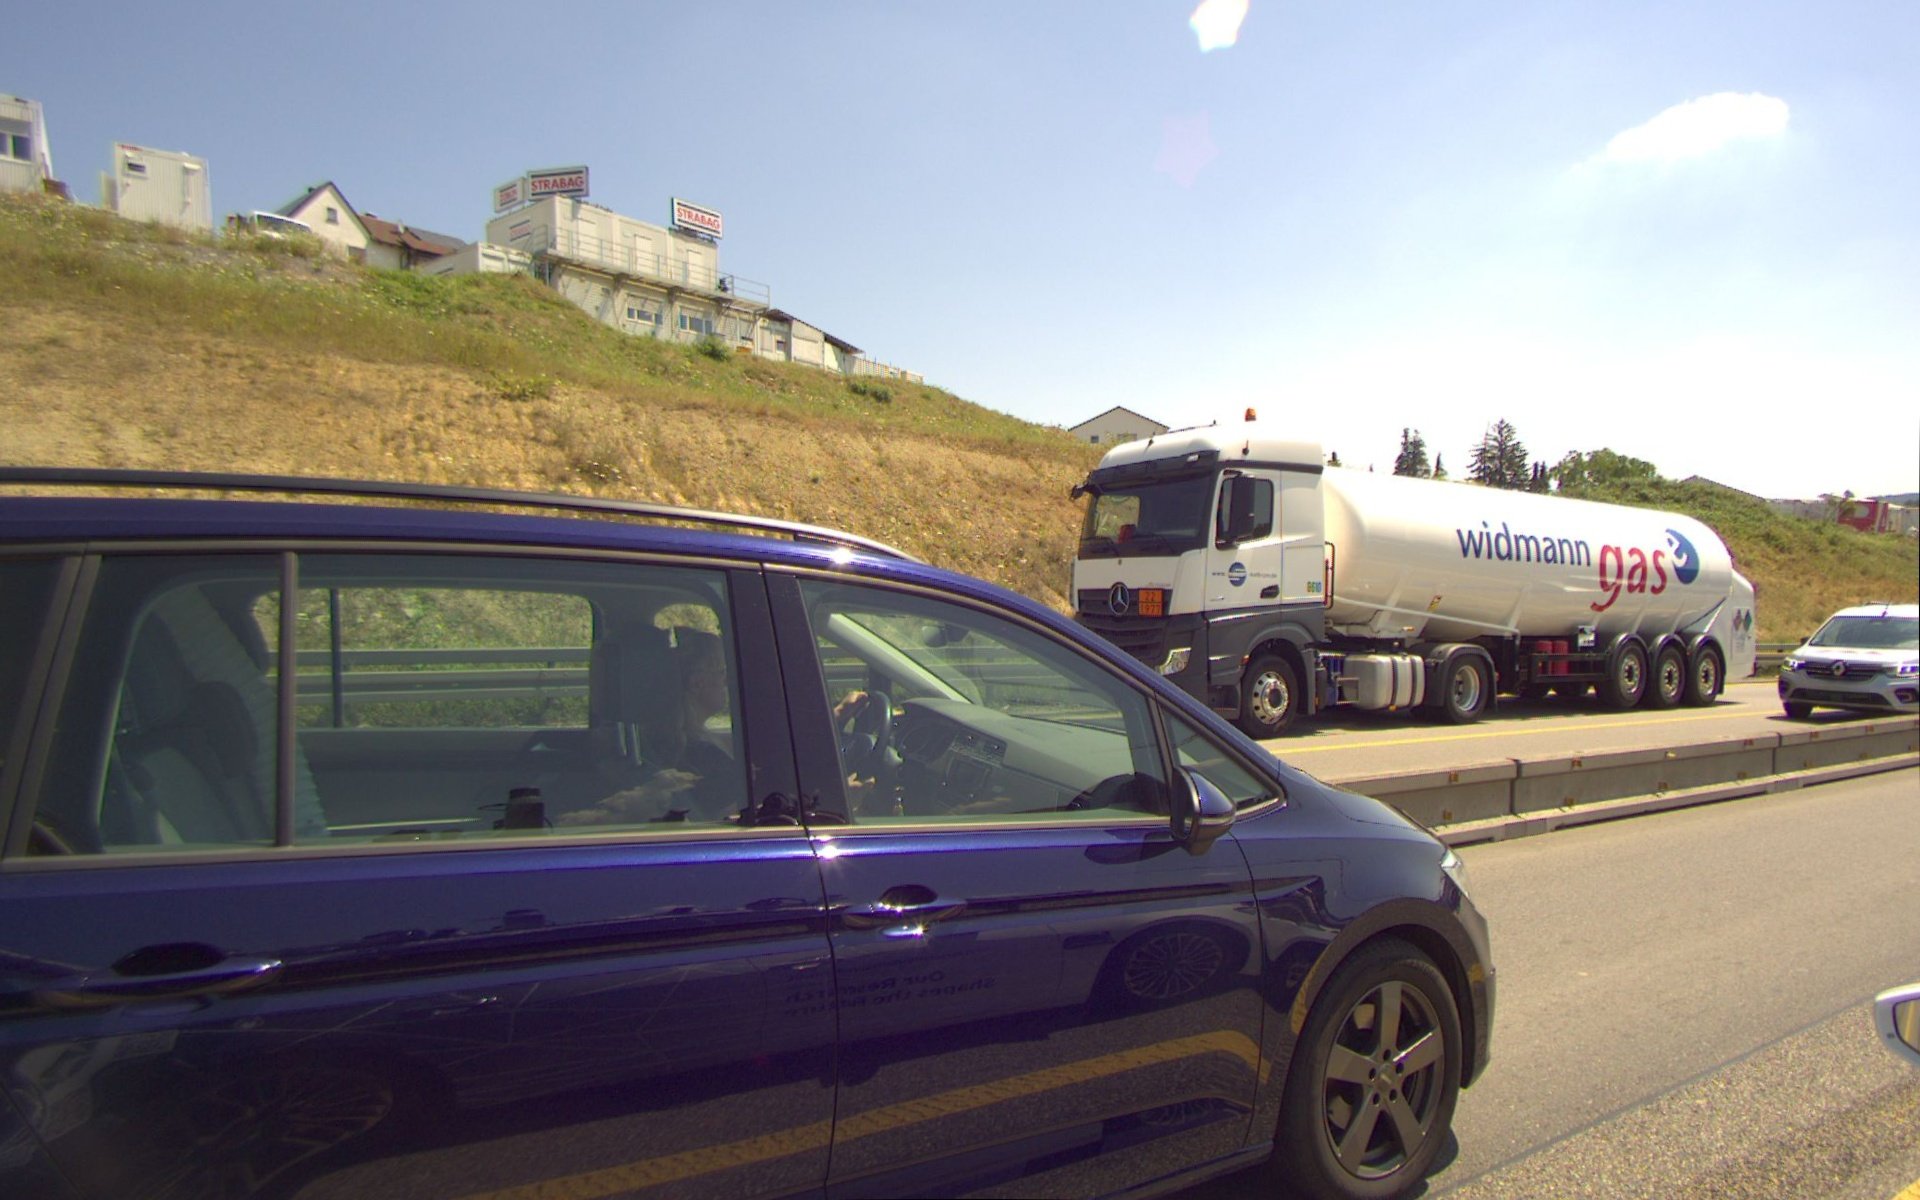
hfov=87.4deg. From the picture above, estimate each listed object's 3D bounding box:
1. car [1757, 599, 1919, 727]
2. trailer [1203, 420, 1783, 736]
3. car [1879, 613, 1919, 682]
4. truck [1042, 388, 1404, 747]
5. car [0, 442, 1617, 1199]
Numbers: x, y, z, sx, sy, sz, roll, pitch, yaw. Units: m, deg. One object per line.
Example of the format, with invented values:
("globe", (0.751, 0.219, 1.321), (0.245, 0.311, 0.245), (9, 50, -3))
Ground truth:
("car", (14.700, 0.907, 15.827), (4.429, 1.768, 1.871), (1, -1, -30))
("trailer", (9.242, -0.207, 16.398), (11.778, 3.853, 2.577), (1, 1, -31))
("car", (26.990, 1.269, 27.323), (4.486, 1.786, 1.781), (1, 0, -31))
("truck", (3.330, -0.340, 12.861), (3.723, 3.853, 2.577), (1, 1, -30))
("car", (-0.500, 0.674, 2.538), (4.597, 1.741, 1.767), (0, 1, -30))
